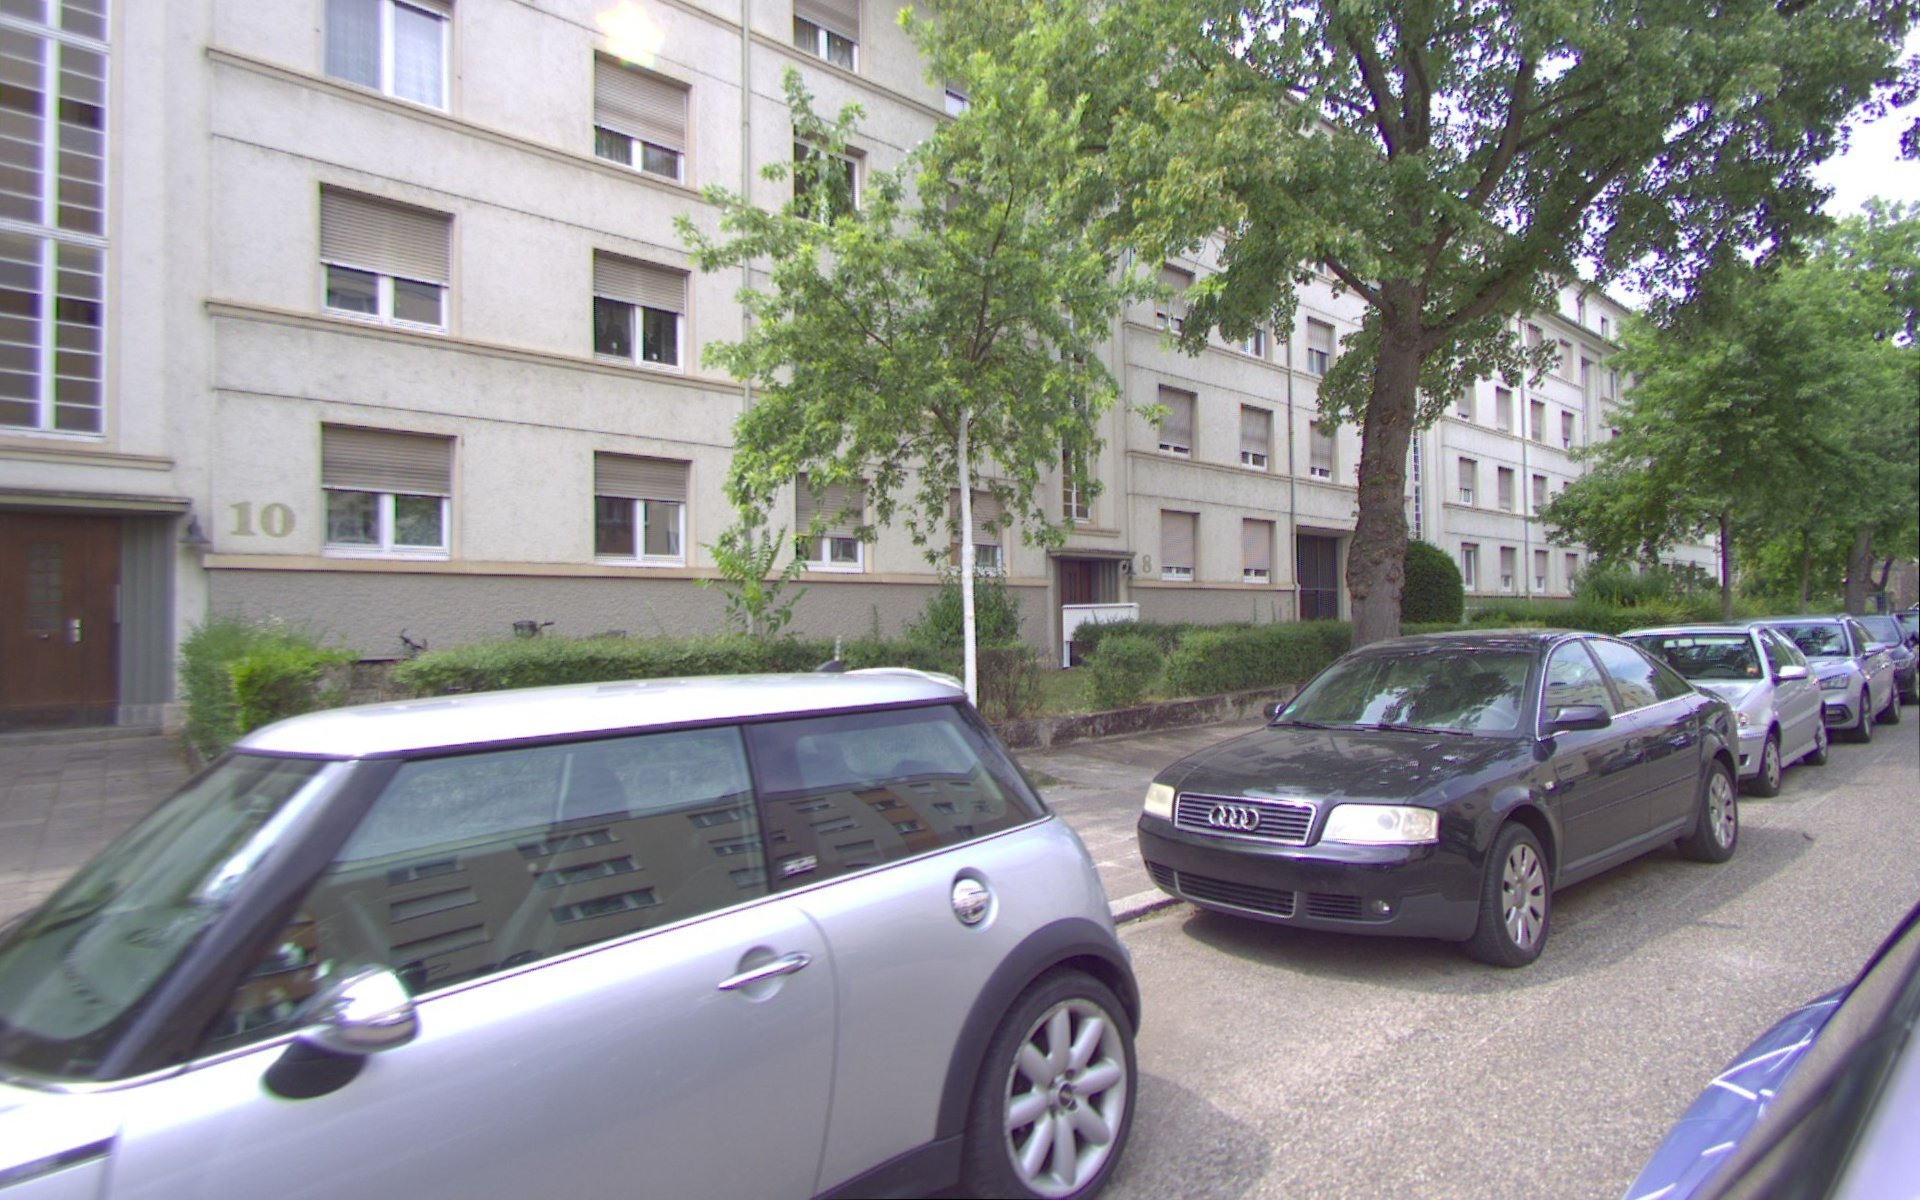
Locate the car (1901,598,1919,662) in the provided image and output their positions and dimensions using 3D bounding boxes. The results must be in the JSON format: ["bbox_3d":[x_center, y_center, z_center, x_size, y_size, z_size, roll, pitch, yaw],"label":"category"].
[{"bbox_3d":[24.467,0.681,24.667,4.028,1.488,1.700,0,-3,-40],"label":"car"}]

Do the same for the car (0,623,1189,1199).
[{"bbox_3d":[-1.247,0.803,2.352,3.661,1.488,1.661,1,-2,-42],"label":"car"}]

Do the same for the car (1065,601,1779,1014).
[{"bbox_3d":[2.878,0.791,5.798,4.530,1.488,1.783,0,-3,-38],"label":"car"}]

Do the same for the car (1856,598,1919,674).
[{"bbox_3d":[20.554,0.711,21.422,4.478,1.488,1.700,0,-3,-40],"label":"car"}]

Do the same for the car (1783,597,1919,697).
[{"bbox_3d":[15.538,0.743,17.172,4.672,1.488,1.699,0,-3,-42],"label":"car"}]

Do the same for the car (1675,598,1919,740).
[{"bbox_3d":[10.731,0.767,12.798,4.636,1.488,1.699,0,-3,-42],"label":"car"}]

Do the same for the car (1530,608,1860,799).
[{"bbox_3d":[7.017,0.835,9.525,3.785,1.419,1.671,0,-4,-42],"label":"car"}]
